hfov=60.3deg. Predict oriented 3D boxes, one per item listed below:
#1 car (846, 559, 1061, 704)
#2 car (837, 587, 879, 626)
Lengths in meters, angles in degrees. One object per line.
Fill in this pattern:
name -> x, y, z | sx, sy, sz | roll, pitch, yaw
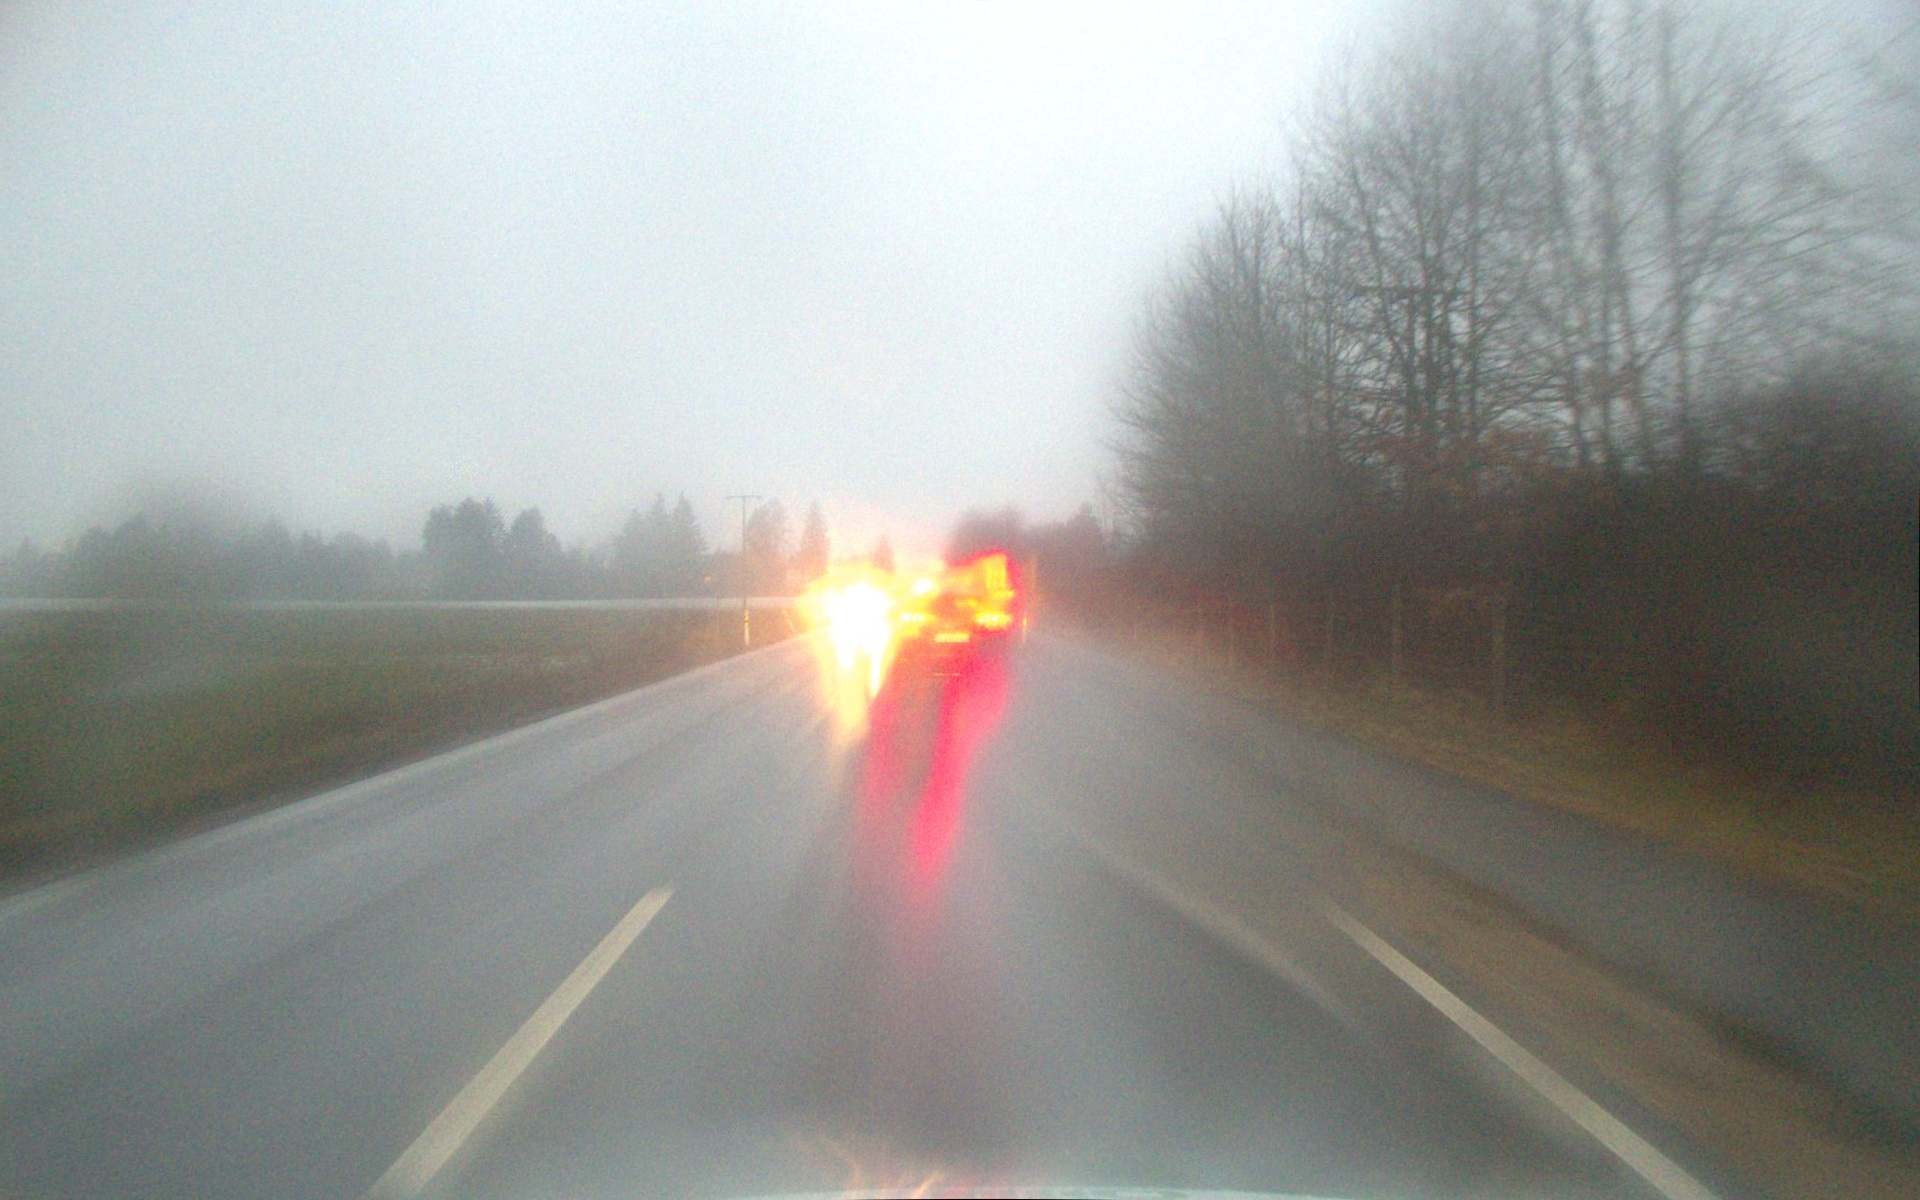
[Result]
car -> -0.122, 0.421, 27.351 | 3.100, 2.071, 6.851 | 0, 1, -1
car -> -4.764, 0.295, 77.783 | 1.802, 1.751, 3.955 | 1, 0, -2
